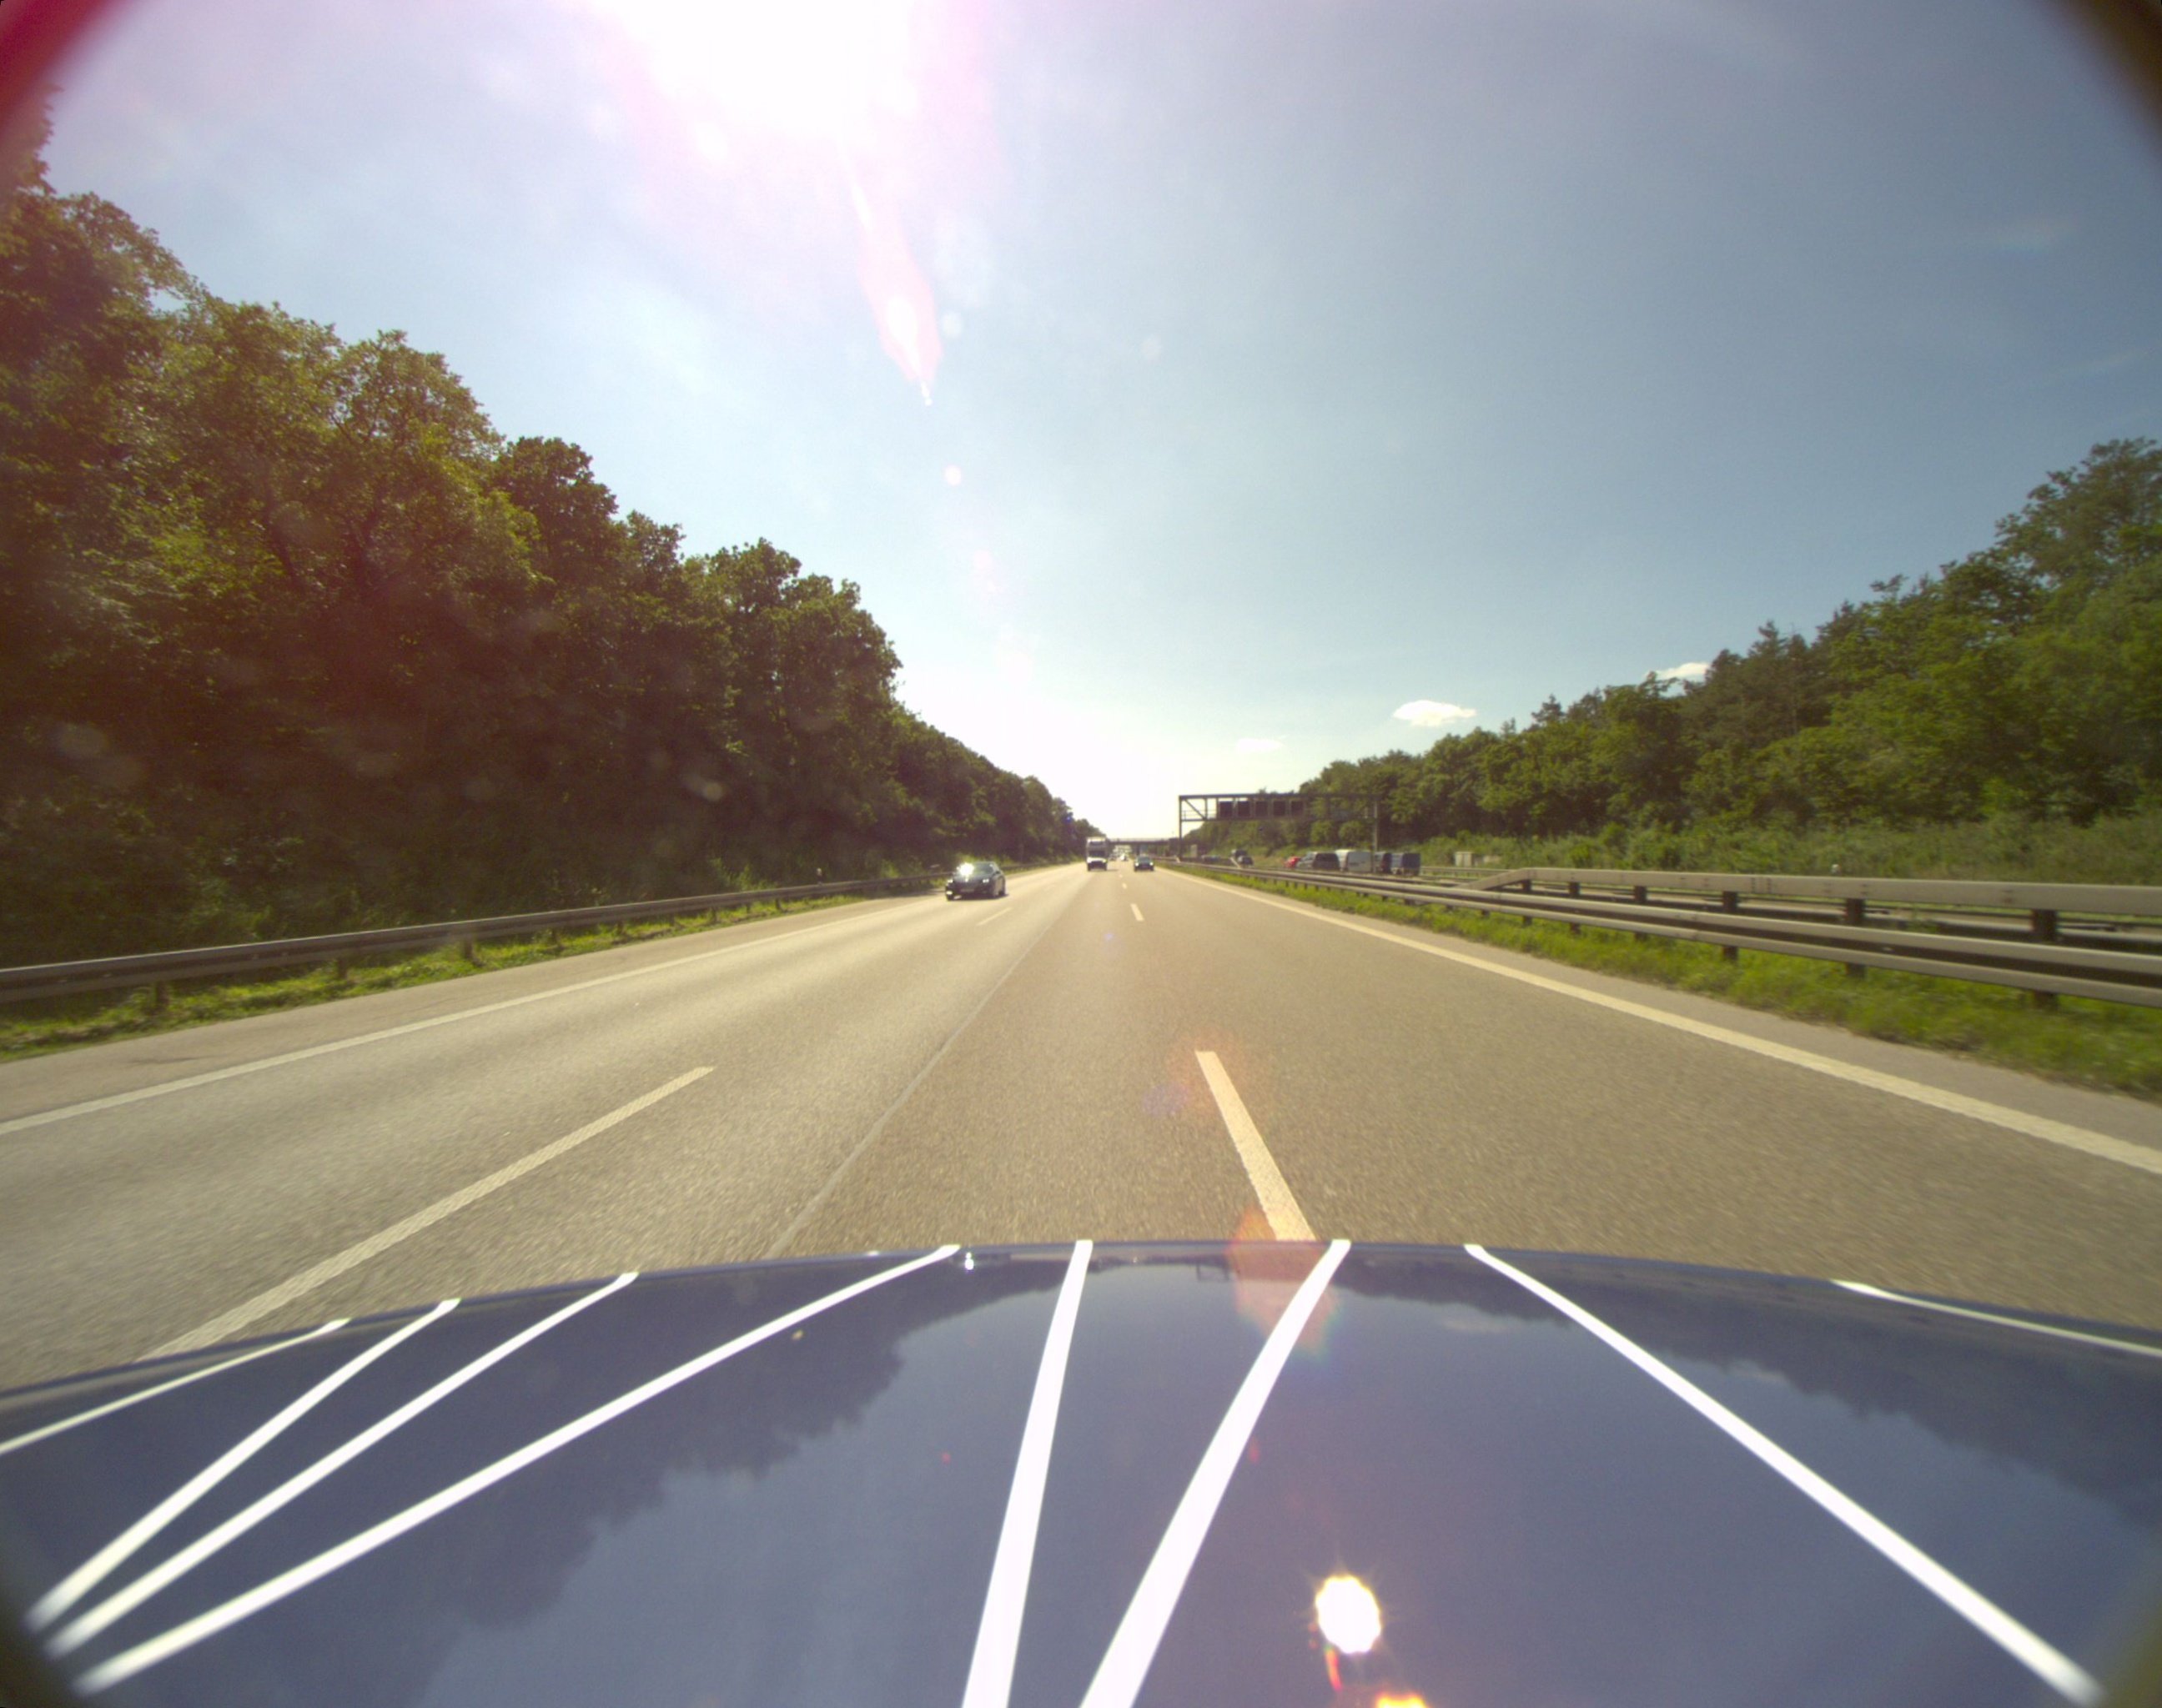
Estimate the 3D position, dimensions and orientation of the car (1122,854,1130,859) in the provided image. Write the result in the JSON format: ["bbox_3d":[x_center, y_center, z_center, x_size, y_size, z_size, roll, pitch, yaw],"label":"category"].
[{"bbox_3d":[11.345,0.570,192.941,1.831,1.346,3.679,0,0,1],"label":"car"}]

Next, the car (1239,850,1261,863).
[{"bbox_3d":[19.517,0.249,87.962,1.776,1.405,3.845,-1,0,0],"label":"car"}]

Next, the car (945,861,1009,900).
[{"bbox_3d":[-4.102,1.010,30.626,1.916,1.390,4.138,-1,0,1],"label":"car"}]

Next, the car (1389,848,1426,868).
[{"bbox_3d":[22.670,0.252,52.861,1.442,1.354,2.726,-1,0,1],"label":"car"}]

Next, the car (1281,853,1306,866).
[{"bbox_3d":[23.741,0.560,85.089,1.776,1.405,3.845,-1,0,1],"label":"car"}]

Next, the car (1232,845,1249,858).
[{"bbox_3d":[24.107,-0.339,114.665,1.776,1.936,3.845,-1,0,1],"label":"car"}]

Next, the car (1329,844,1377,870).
[{"bbox_3d":[18.277,0.192,51.222,1.949,1.701,3.797,-1,0,1],"label":"car"}]

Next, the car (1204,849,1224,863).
[{"bbox_3d":[16.044,0.270,91.686,1.776,1.624,3.845,-1,0,1],"label":"car"}]

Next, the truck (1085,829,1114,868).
[{"bbox_3d":[1.824,-0.531,75.954,2.676,3.661,6.483,-1,0,1],"label":"truck"}]

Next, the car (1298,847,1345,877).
[{"bbox_3d":[14.253,0.444,45.196,1.749,1.701,3.242,-1,0,1],"label":"car"}]

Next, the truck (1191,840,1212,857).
[{"bbox_3d":[28.842,-1.259,182.251,3.605,3.847,9.650,0,0,1],"label":"truck"}]

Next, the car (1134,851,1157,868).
[{"bbox_3d":[5.881,0.461,69.702,1.814,1.483,3.728,-1,0,1],"label":"car"}]

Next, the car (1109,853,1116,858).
[{"bbox_3d":[8.359,0.379,203.908,1.831,1.346,3.679,0,0,1],"label":"car"}]

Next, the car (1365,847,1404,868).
[{"bbox_3d":[22.584,0.275,56.636,1.542,1.486,3.389,-1,0,1],"label":"car"}]
